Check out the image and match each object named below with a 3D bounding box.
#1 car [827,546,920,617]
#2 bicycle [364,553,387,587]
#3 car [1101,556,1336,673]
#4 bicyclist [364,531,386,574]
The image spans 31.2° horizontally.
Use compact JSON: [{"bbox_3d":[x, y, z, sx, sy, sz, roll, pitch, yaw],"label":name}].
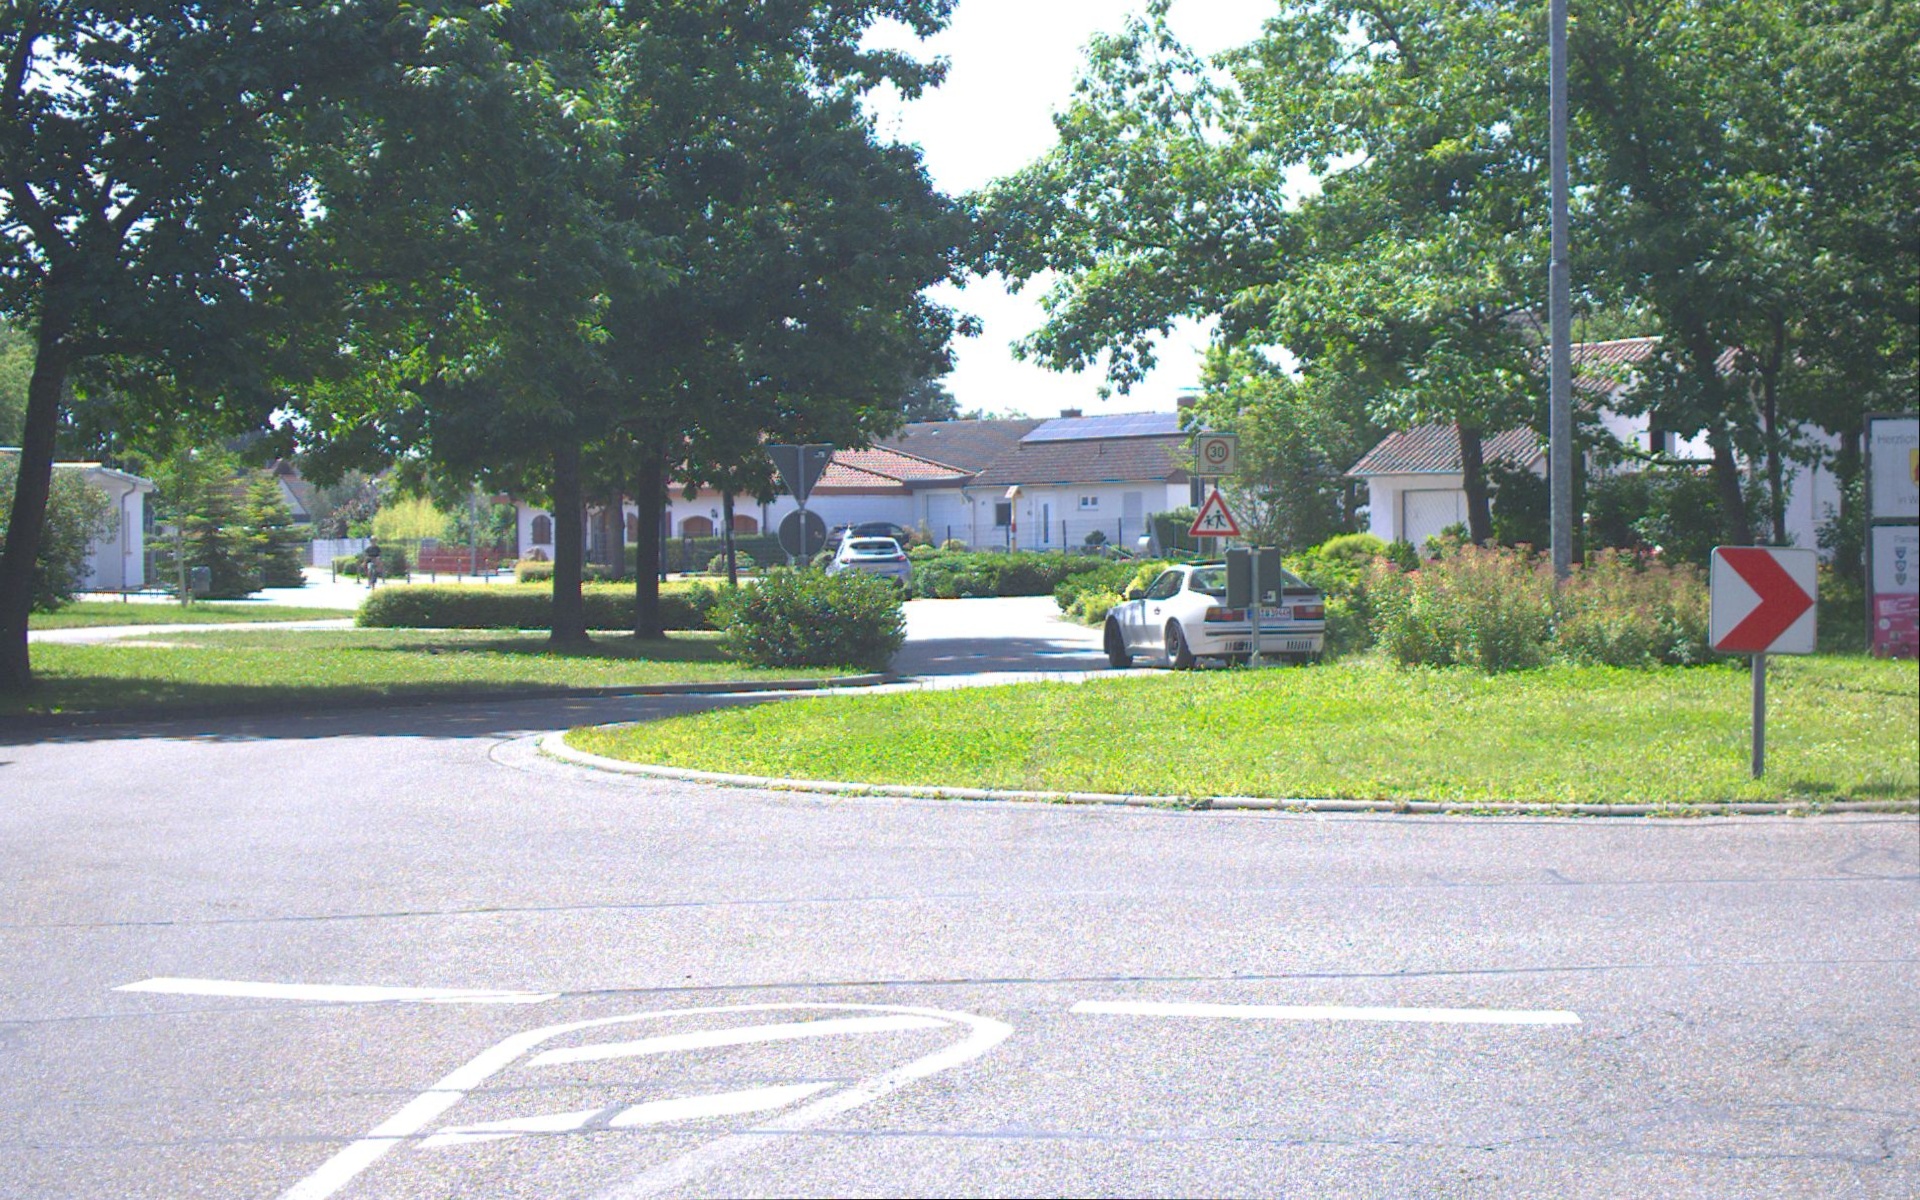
[{"bbox_3d":[-1.974,-0.435,77.447,1.628,1.481,4.001,-1,1,-8],"label":"car"},{"bbox_3d":[-16.122,-0.830,94.805,0.597,0.926,1.621,-1,1,-9],"label":"bicycle"},{"bbox_3d":[2.973,0.133,40.197,1.614,1.284,3.558,-1,1,-16],"label":"car"},{"bbox_3d":[-16.137,-1.306,94.848,0.597,1.160,0.649,-1,1,-9],"label":"bicyclist"}]
